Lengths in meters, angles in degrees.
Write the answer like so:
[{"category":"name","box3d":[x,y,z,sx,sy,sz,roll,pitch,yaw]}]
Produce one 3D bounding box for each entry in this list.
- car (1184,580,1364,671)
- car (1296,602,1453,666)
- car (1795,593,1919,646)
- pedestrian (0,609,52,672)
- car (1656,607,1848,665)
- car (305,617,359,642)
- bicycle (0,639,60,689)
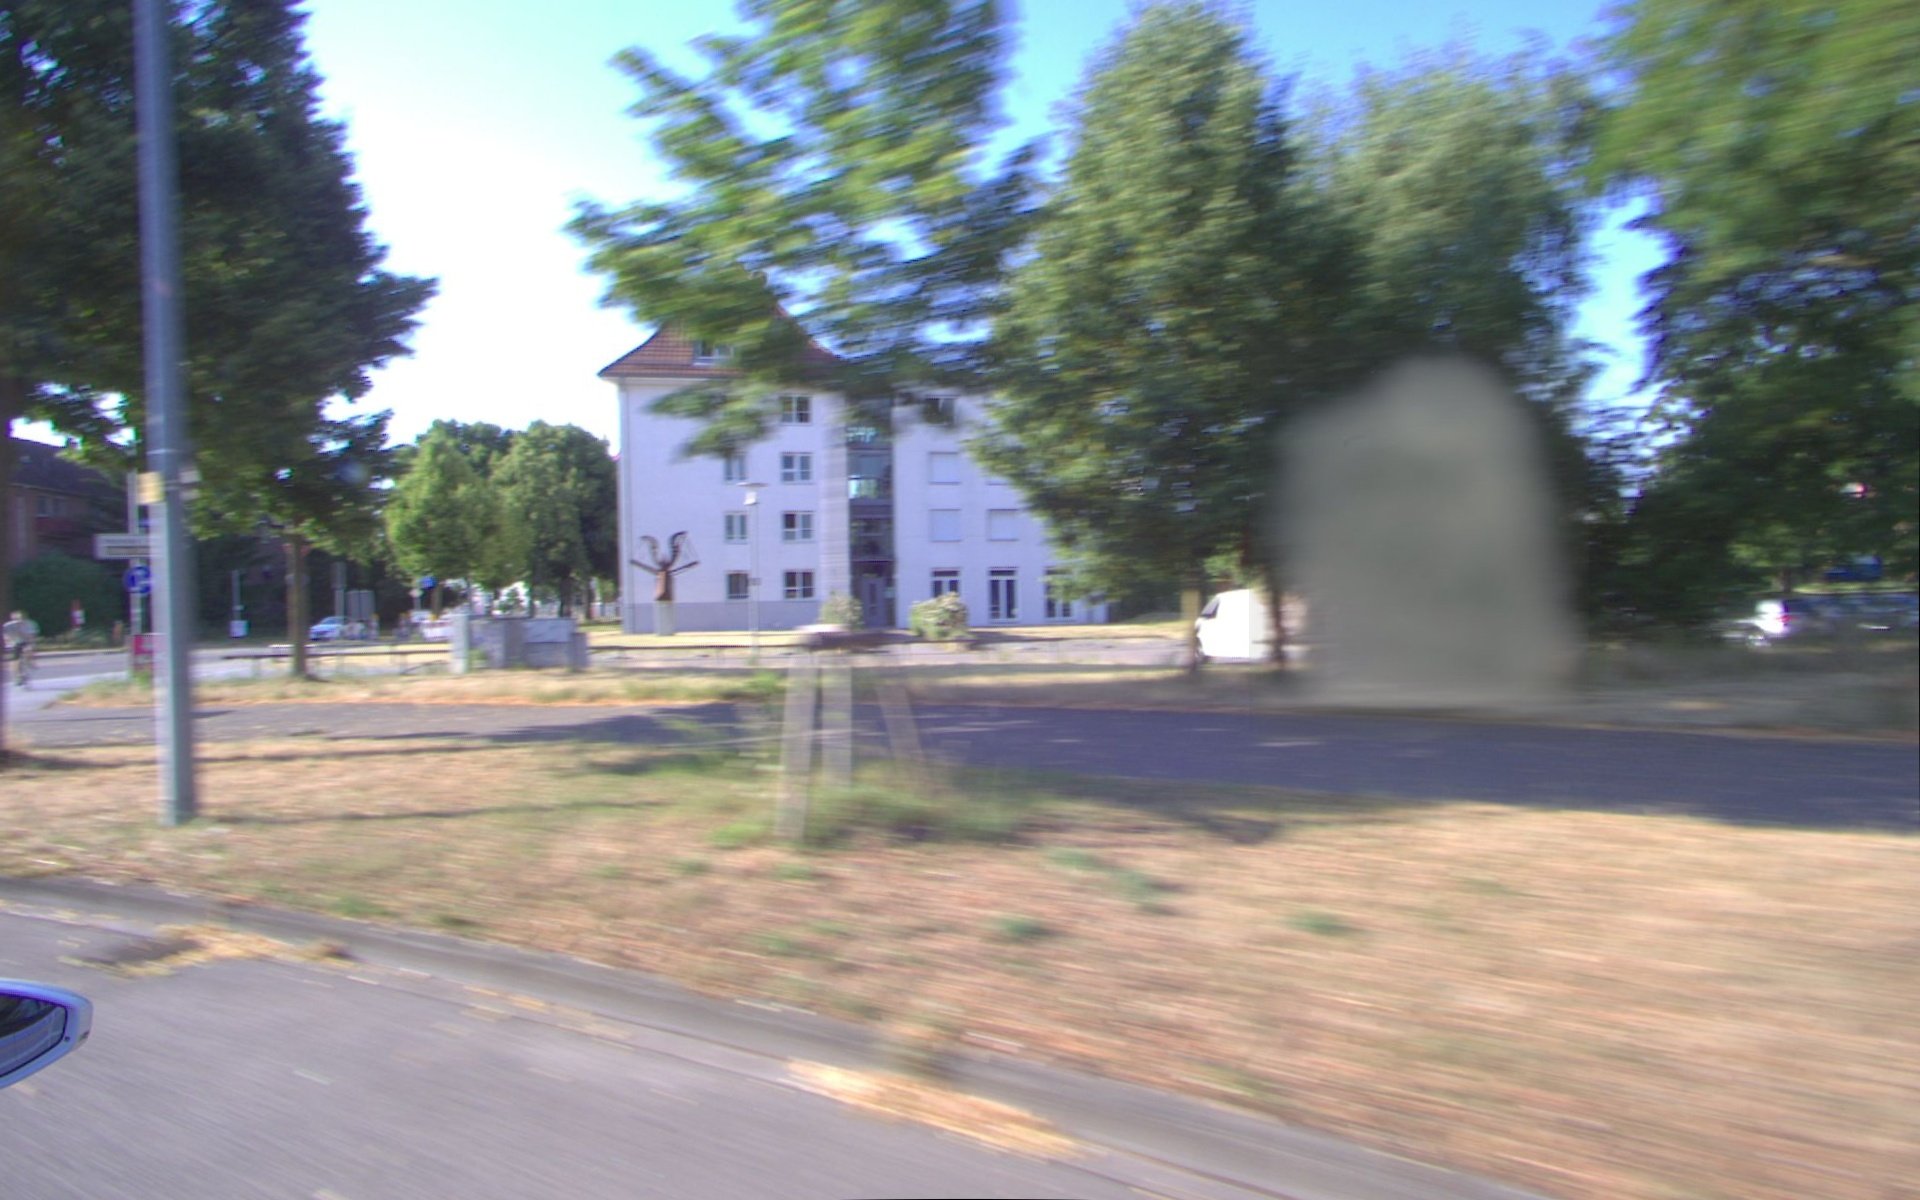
[{"category":"car","box3d":[7.817,0.636,25.621,2.226,2.039,5.217,-1,-1,-10]},{"category":"car","box3d":[10.395,0.810,25.461,1.835,1.462,3.997,-1,0,-10]},{"category":"car","box3d":[27.287,0.540,29.422,1.835,1.462,3.997,-1,0,-10]},{"category":"pedestrian","box3d":[-21.671,0.924,23.177,0.641,1.410,0.766,-3,1,-16]},{"category":"car","box3d":[21.883,0.956,27.891,1.835,1.462,3.997,-1,0,-10]},{"category":"car","box3d":[-38.546,1.775,61.571,1.732,1.440,3.620,0,0,-13]},{"category":"bicycle","box3d":[-21.719,1.459,23.204,0.525,1.069,1.909,-1,0,-18]}]
